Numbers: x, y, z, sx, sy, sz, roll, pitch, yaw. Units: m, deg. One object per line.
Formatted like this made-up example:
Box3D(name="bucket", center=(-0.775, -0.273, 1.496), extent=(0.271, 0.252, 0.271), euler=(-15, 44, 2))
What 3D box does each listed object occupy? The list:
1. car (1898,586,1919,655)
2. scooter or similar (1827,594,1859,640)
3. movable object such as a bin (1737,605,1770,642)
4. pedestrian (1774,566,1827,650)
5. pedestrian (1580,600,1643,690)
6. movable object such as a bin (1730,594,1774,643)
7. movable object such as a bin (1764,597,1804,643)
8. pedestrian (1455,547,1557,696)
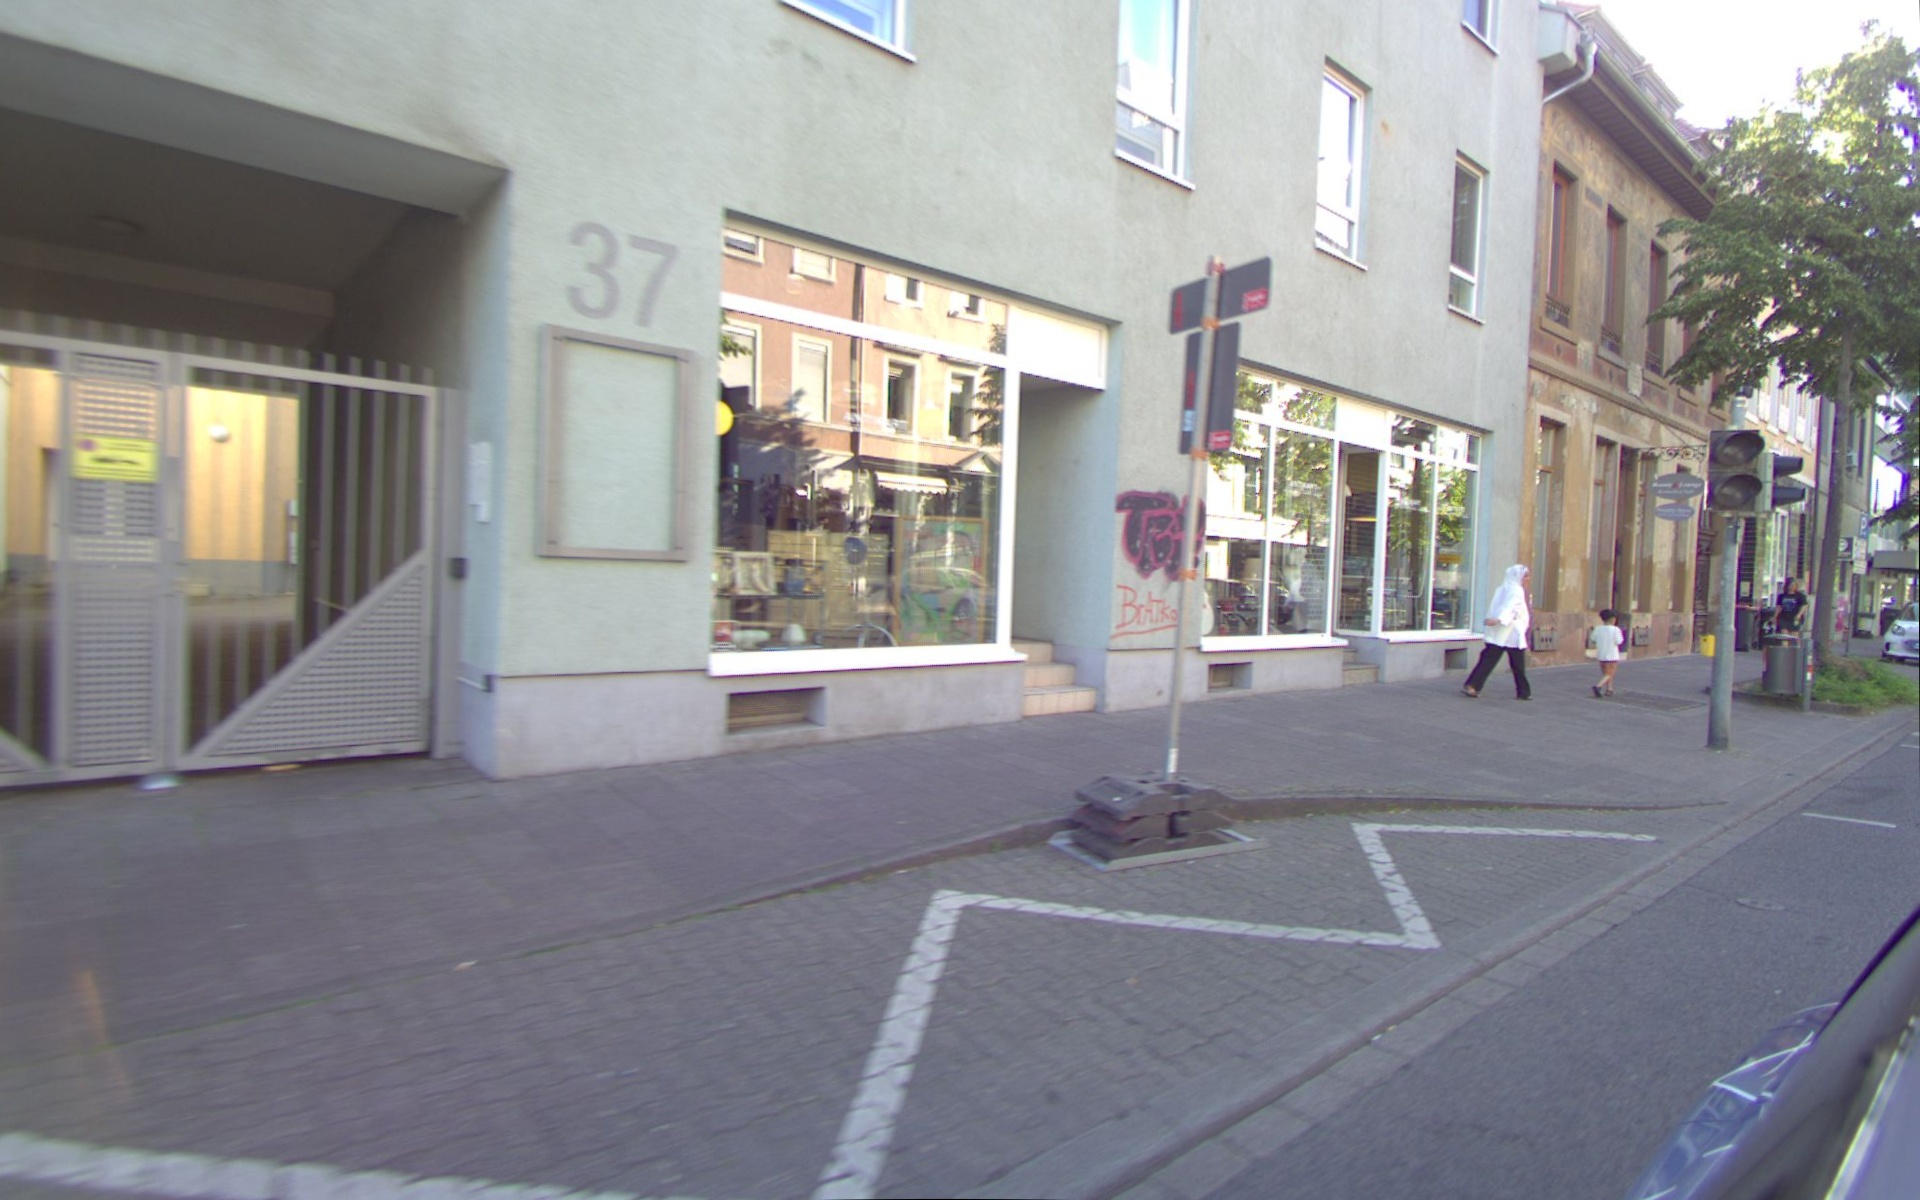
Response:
Box3D(name="car", center=(23.531, 0.523, 23.914), extent=(3.008, 1.547, 1.617), euler=(0, 5, -42))
Box3D(name="scooter or similar", center=(24.040, 0.466, 27.549), extent=(1.147, 1.201, 0.400), euler=(0, 4, -40))
Box3D(name="movable object such as a bin", center=(19.314, 0.569, 24.641), extent=(0.470, 0.870, 0.512), euler=(1, 2, -39))
Box3D(name="pedestrian", center=(18.696, 0.173, 22.510), extent=(0.757, 1.786, 0.624), euler=(1, 4, -39))
Box3D(name="pedestrian", center=(8.068, 0.538, 12.527), extent=(0.727, 1.045, 0.394), euler=(0, 5, -42))
Box3D(name="movable object such as a bin", center=(18.389, 0.419, 23.492), extent=(0.709, 1.052, 0.590), euler=(1, 4, -39))
Box3D(name="movable object such as a bin", center=(19.743, 0.474, 24.249), extent=(0.709, 1.052, 0.523), euler=(1, 4, -40))
Box3D(name="pedestrian", center=(6.191, 0.220, 11.469), extent=(1.003, 1.577, 0.582), euler=(0, 5, -42))
